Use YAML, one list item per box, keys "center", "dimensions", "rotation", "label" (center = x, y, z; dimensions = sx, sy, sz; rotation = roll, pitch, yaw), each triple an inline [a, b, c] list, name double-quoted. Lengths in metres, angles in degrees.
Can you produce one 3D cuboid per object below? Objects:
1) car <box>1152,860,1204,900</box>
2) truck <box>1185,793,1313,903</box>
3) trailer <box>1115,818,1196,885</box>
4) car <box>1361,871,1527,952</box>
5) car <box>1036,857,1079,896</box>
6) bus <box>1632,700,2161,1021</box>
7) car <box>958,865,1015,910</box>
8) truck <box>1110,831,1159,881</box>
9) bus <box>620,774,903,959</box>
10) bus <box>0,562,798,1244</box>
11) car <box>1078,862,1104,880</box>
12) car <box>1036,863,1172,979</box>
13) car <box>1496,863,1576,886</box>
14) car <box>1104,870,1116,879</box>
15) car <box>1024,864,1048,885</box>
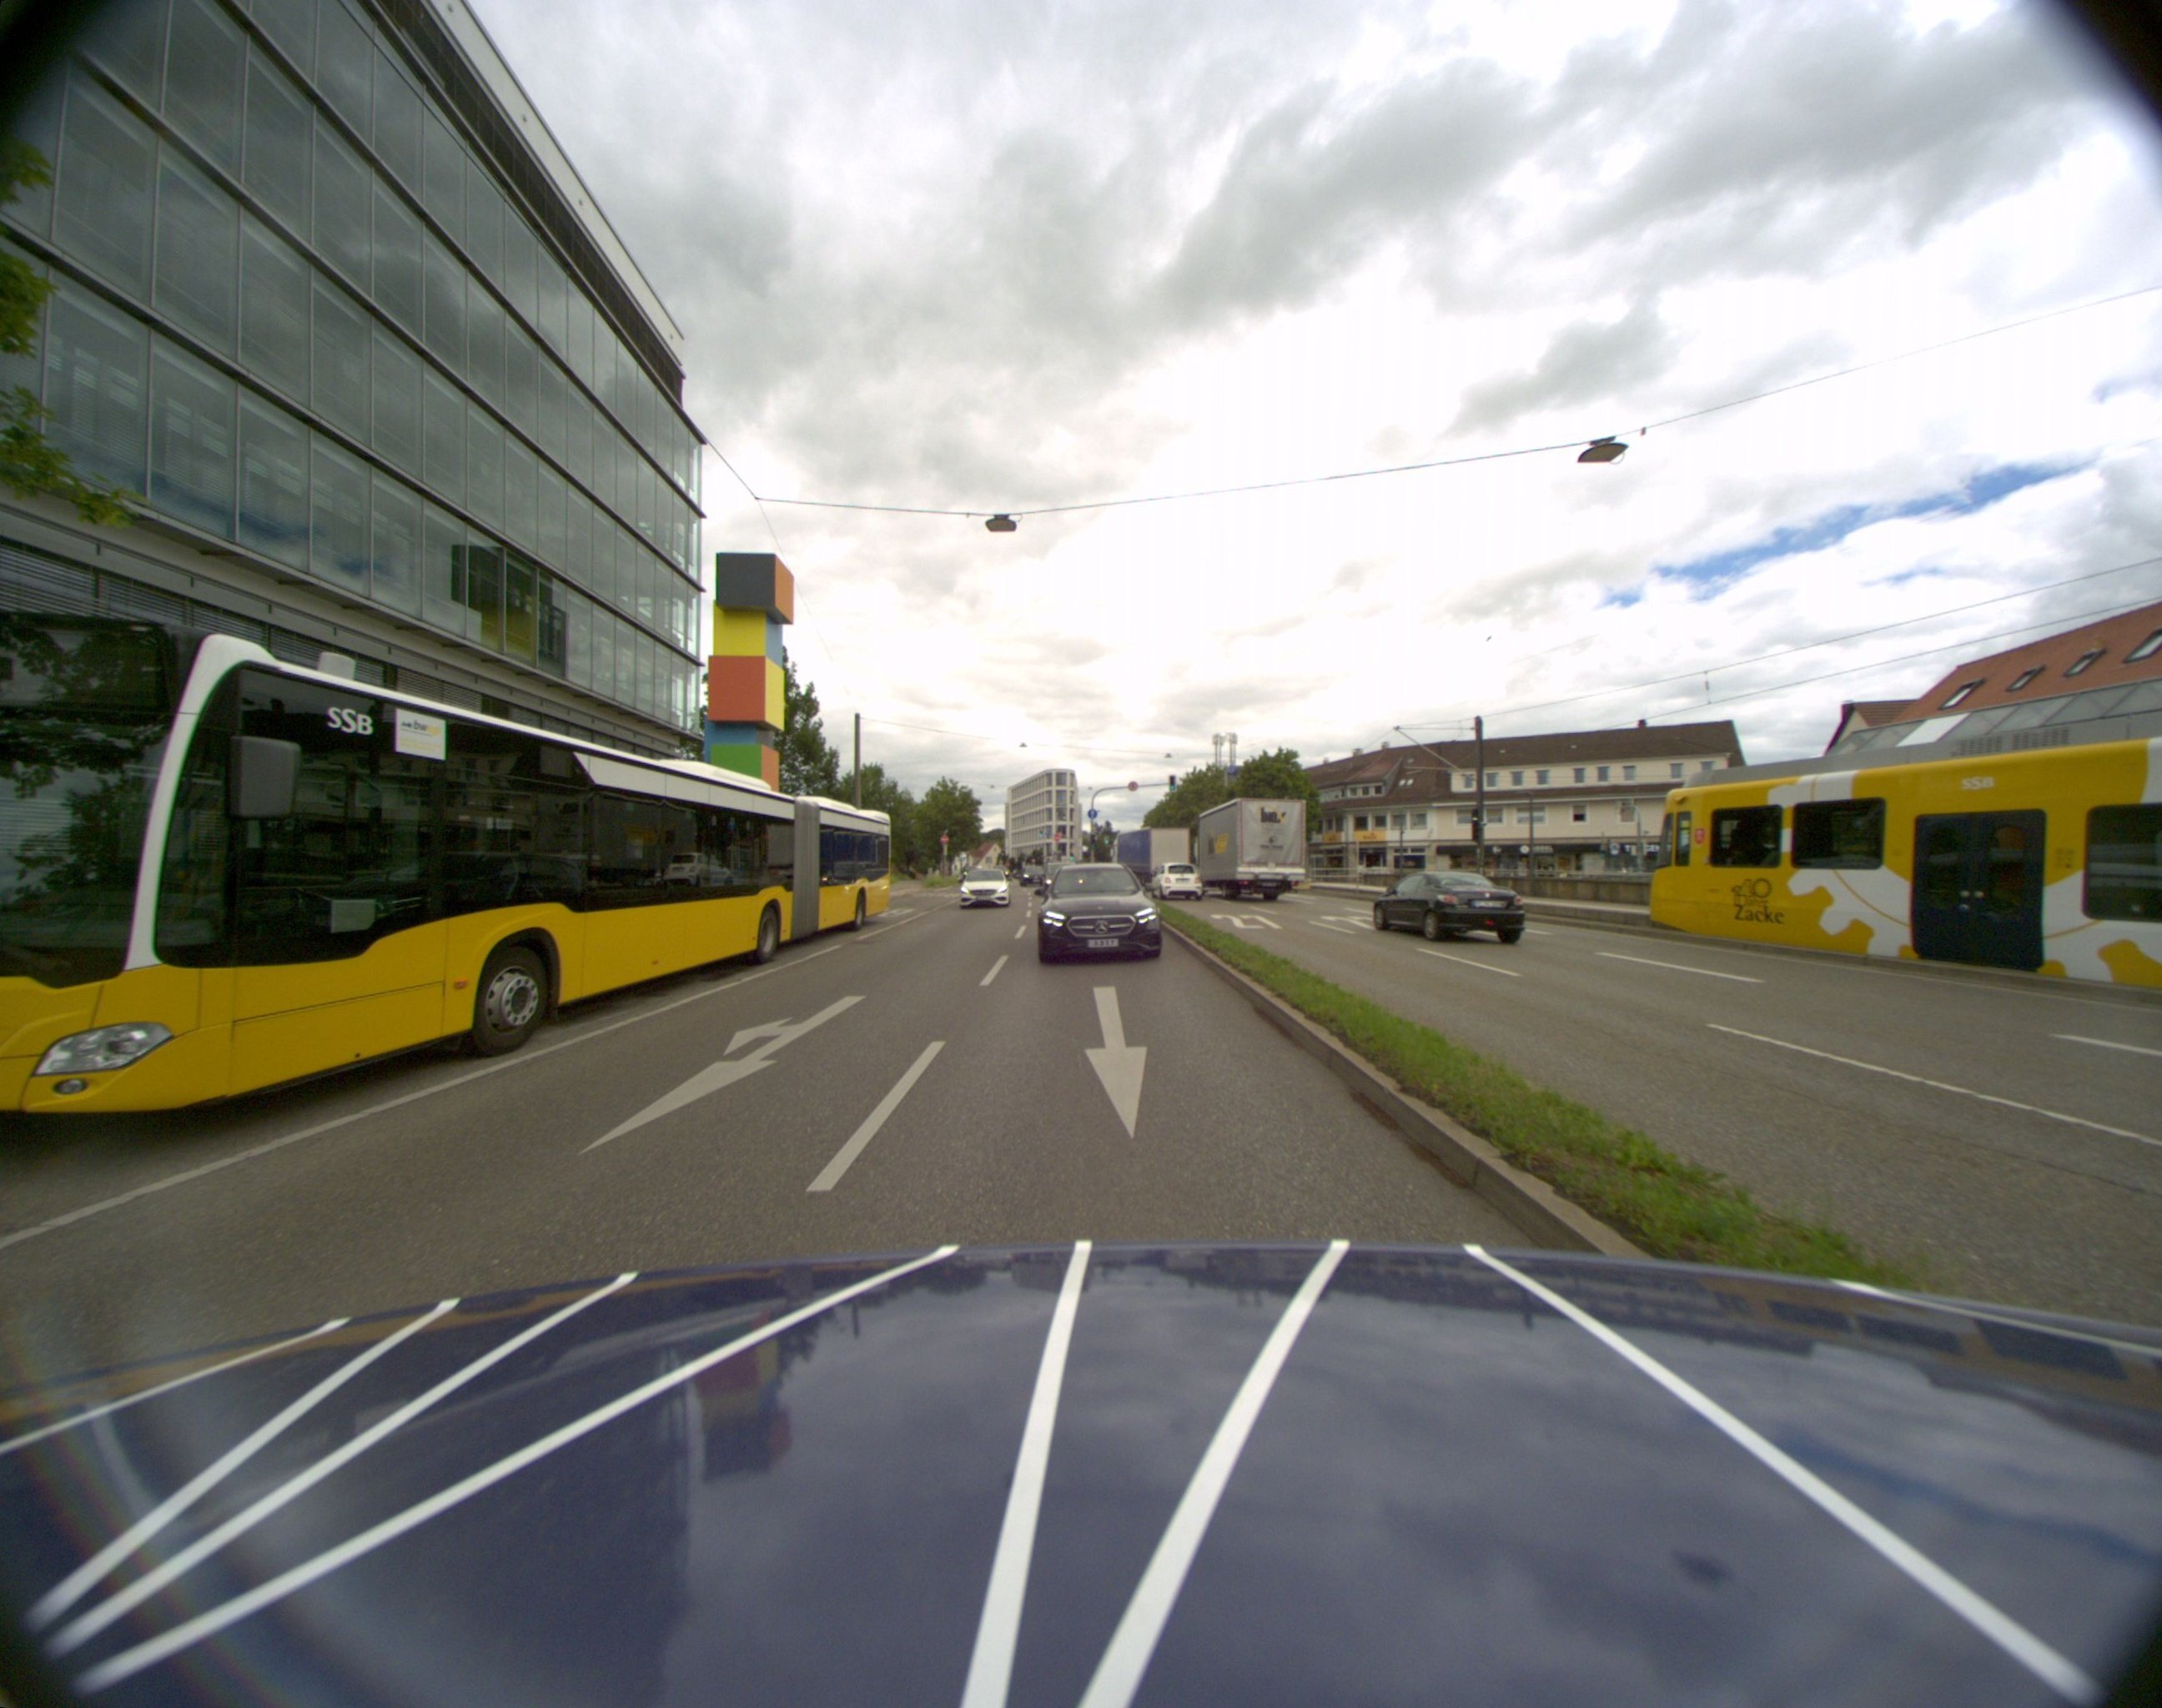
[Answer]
- center: [3.909, 1.028, 31.162]
  dimensions: [1.592, 1.493, 3.718]
  rotation: [-1, 0, -1]
  label: "car"
- center: [6.685, -0.202, 31.934]
  dimensions: [2.946, 3.934, 9.162]
  rotation: [0, 0, -3]
  label: "truck"
- center: [5.120, -0.039, 56.061]
  dimensions: [3.111, 4.244, 14.841]
  rotation: [0, -1, -6]
  label: "trailer"
- center: [7.307, 1.083, 15.733]
  dimensions: [1.509, 1.337, 3.949]
  rotation: [2, 0, 0]
  label: "car"
- center: [-1.067, 1.042, 36.421]
  dimensions: [1.735, 1.680, 4.369]
  rotation: [-1, 0, 2]
  label: "car"
- center: [14.926, 0.087, 7.682]
  dimensions: [3.888, 3.837, 19.335]
  rotation: [0, 0, -3]
  label: "bus"
- center: [-3.750, 1.233, 29.519]
  dimensions: [1.874, 1.496, 4.769]
  rotation: [-2, 0, -11]
  label: "car"
- center: [4.386, 0.179, 63.546]
  dimensions: [3.100, 3.998, 6.153]
  rotation: [0, -1, -5]
  label: "truck"
- center: [-6.665, 0.216, 17.929]
  dimensions: [3.044, 3.217, 9.335]
  rotation: [0, 0, -2]
  label: "bus"
- center: [-6.281, 0.225, 8.463]
  dimensions: [2.990, 3.222, 9.862]
  rotation: [0, 0, -3]
  label: "bus"
- center: [0.787, 1.448, 64.591]
  dimensions: [1.791, 1.507, 4.362]
  rotation: [0, -1, -5]
  label: "car"
- center: [0.311, 0.989, 13.256]
  dimensions: [1.872, 1.542, 4.773]
  rotation: [-3, 0, -1]
  label: "car"
- center: [30.825, 1.392, 51.616]
  dimensions: [4.355, 1.507, 1.795]
  rotation: [0, -1, 16]
  label: "car"
- center: [4.920, 3.434, 130.927]
  dimensions: [1.954, 1.463, 4.543]
  rotation: [0, 0, 1]
  label: "car"
- center: [-3.397, 1.482, 57.123]
  dimensions: [1.736, 1.474, 4.367]
  rotation: [-1, -1, -4]
  label: "car"
